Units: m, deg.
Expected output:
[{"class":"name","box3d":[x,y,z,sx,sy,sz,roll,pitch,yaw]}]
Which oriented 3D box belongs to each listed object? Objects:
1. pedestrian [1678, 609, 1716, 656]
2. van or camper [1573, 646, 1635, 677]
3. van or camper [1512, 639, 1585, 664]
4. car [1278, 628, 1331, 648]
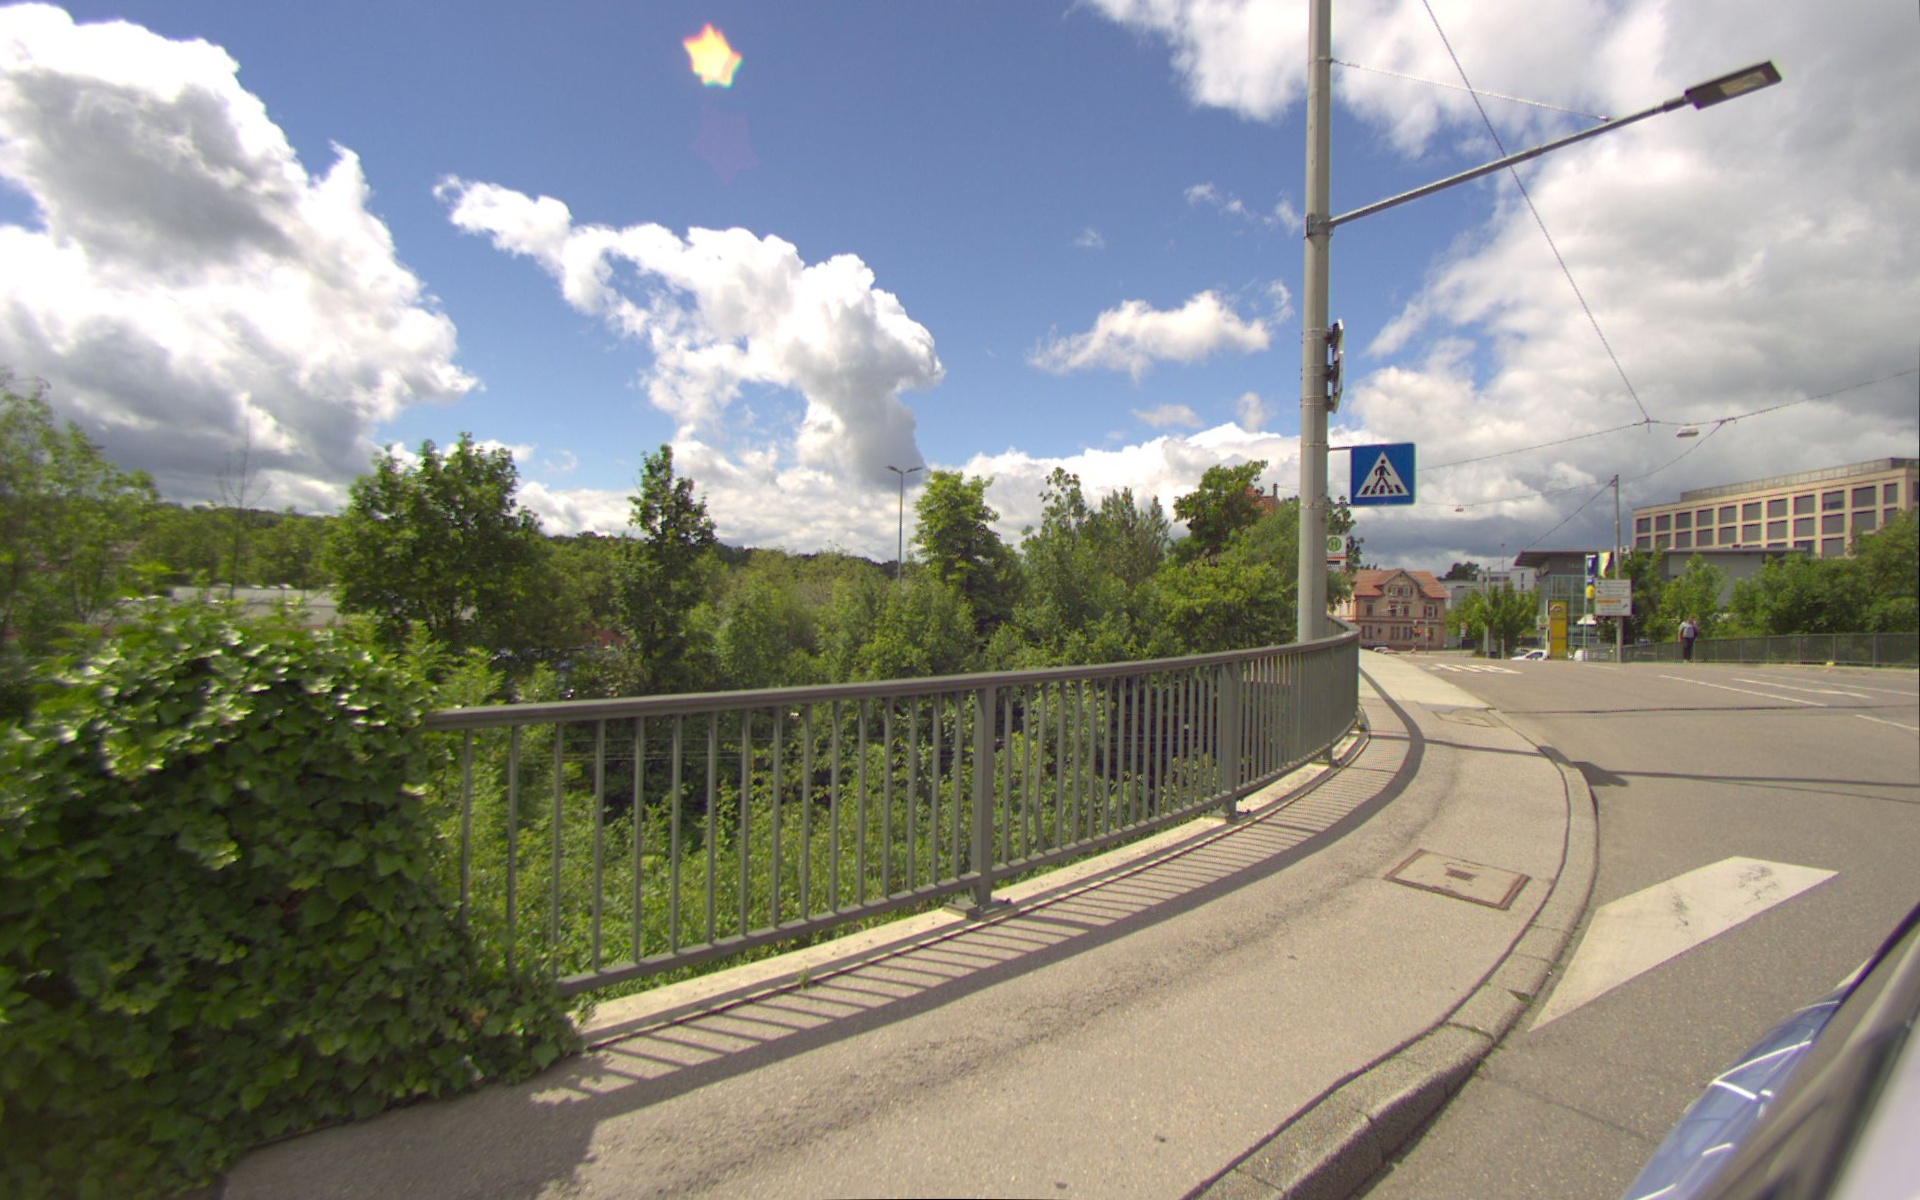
[{"class":"pedestrian","box3d":[29.910,1.331,41.086,0.987,1.861,1.029,0,-4,21]},{"class":"van or camper","box3d":[43.739,4.173,68.670,4.866,1.989,1.988,3,-4,-37]},{"class":"van or camper","box3d":[45.116,3.946,77.650,4.635,1.772,1.982,1,-3,26]},{"class":"car","box3d":[36.562,4.009,107.534,4.900,2.019,1.997,-2,-2,4]}]
